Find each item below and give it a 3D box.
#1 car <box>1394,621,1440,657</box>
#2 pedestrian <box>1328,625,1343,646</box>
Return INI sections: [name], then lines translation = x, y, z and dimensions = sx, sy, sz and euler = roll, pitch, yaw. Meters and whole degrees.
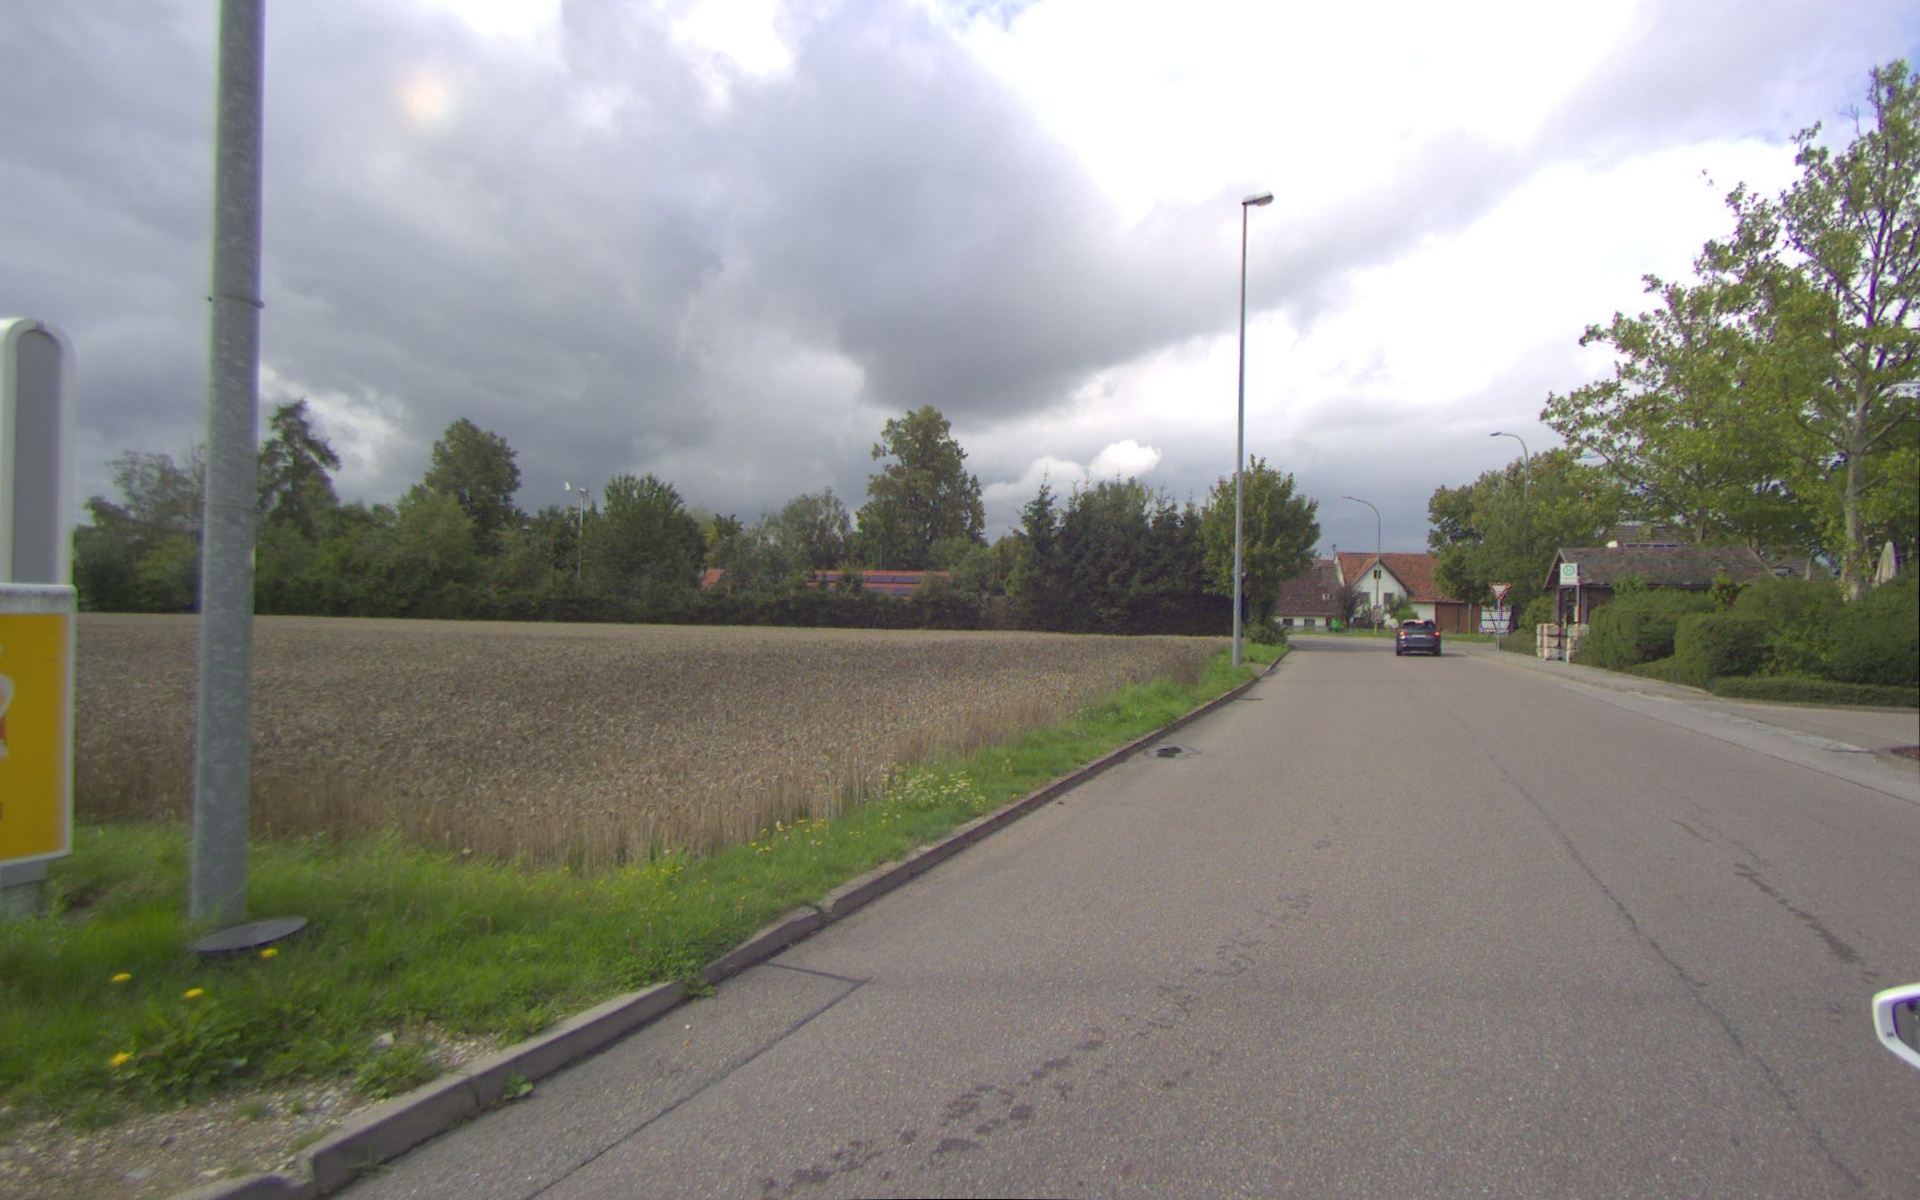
[car]
translation = 20.224, 1.687, 44.549
dimensions = 1.770, 1.481, 3.660
euler = 0, -1, 23
[pedestrian]
translation = 30.943, 2.903, 82.696
dimensions = 0.777, 1.686, 0.710
euler = 5, -1, -12
